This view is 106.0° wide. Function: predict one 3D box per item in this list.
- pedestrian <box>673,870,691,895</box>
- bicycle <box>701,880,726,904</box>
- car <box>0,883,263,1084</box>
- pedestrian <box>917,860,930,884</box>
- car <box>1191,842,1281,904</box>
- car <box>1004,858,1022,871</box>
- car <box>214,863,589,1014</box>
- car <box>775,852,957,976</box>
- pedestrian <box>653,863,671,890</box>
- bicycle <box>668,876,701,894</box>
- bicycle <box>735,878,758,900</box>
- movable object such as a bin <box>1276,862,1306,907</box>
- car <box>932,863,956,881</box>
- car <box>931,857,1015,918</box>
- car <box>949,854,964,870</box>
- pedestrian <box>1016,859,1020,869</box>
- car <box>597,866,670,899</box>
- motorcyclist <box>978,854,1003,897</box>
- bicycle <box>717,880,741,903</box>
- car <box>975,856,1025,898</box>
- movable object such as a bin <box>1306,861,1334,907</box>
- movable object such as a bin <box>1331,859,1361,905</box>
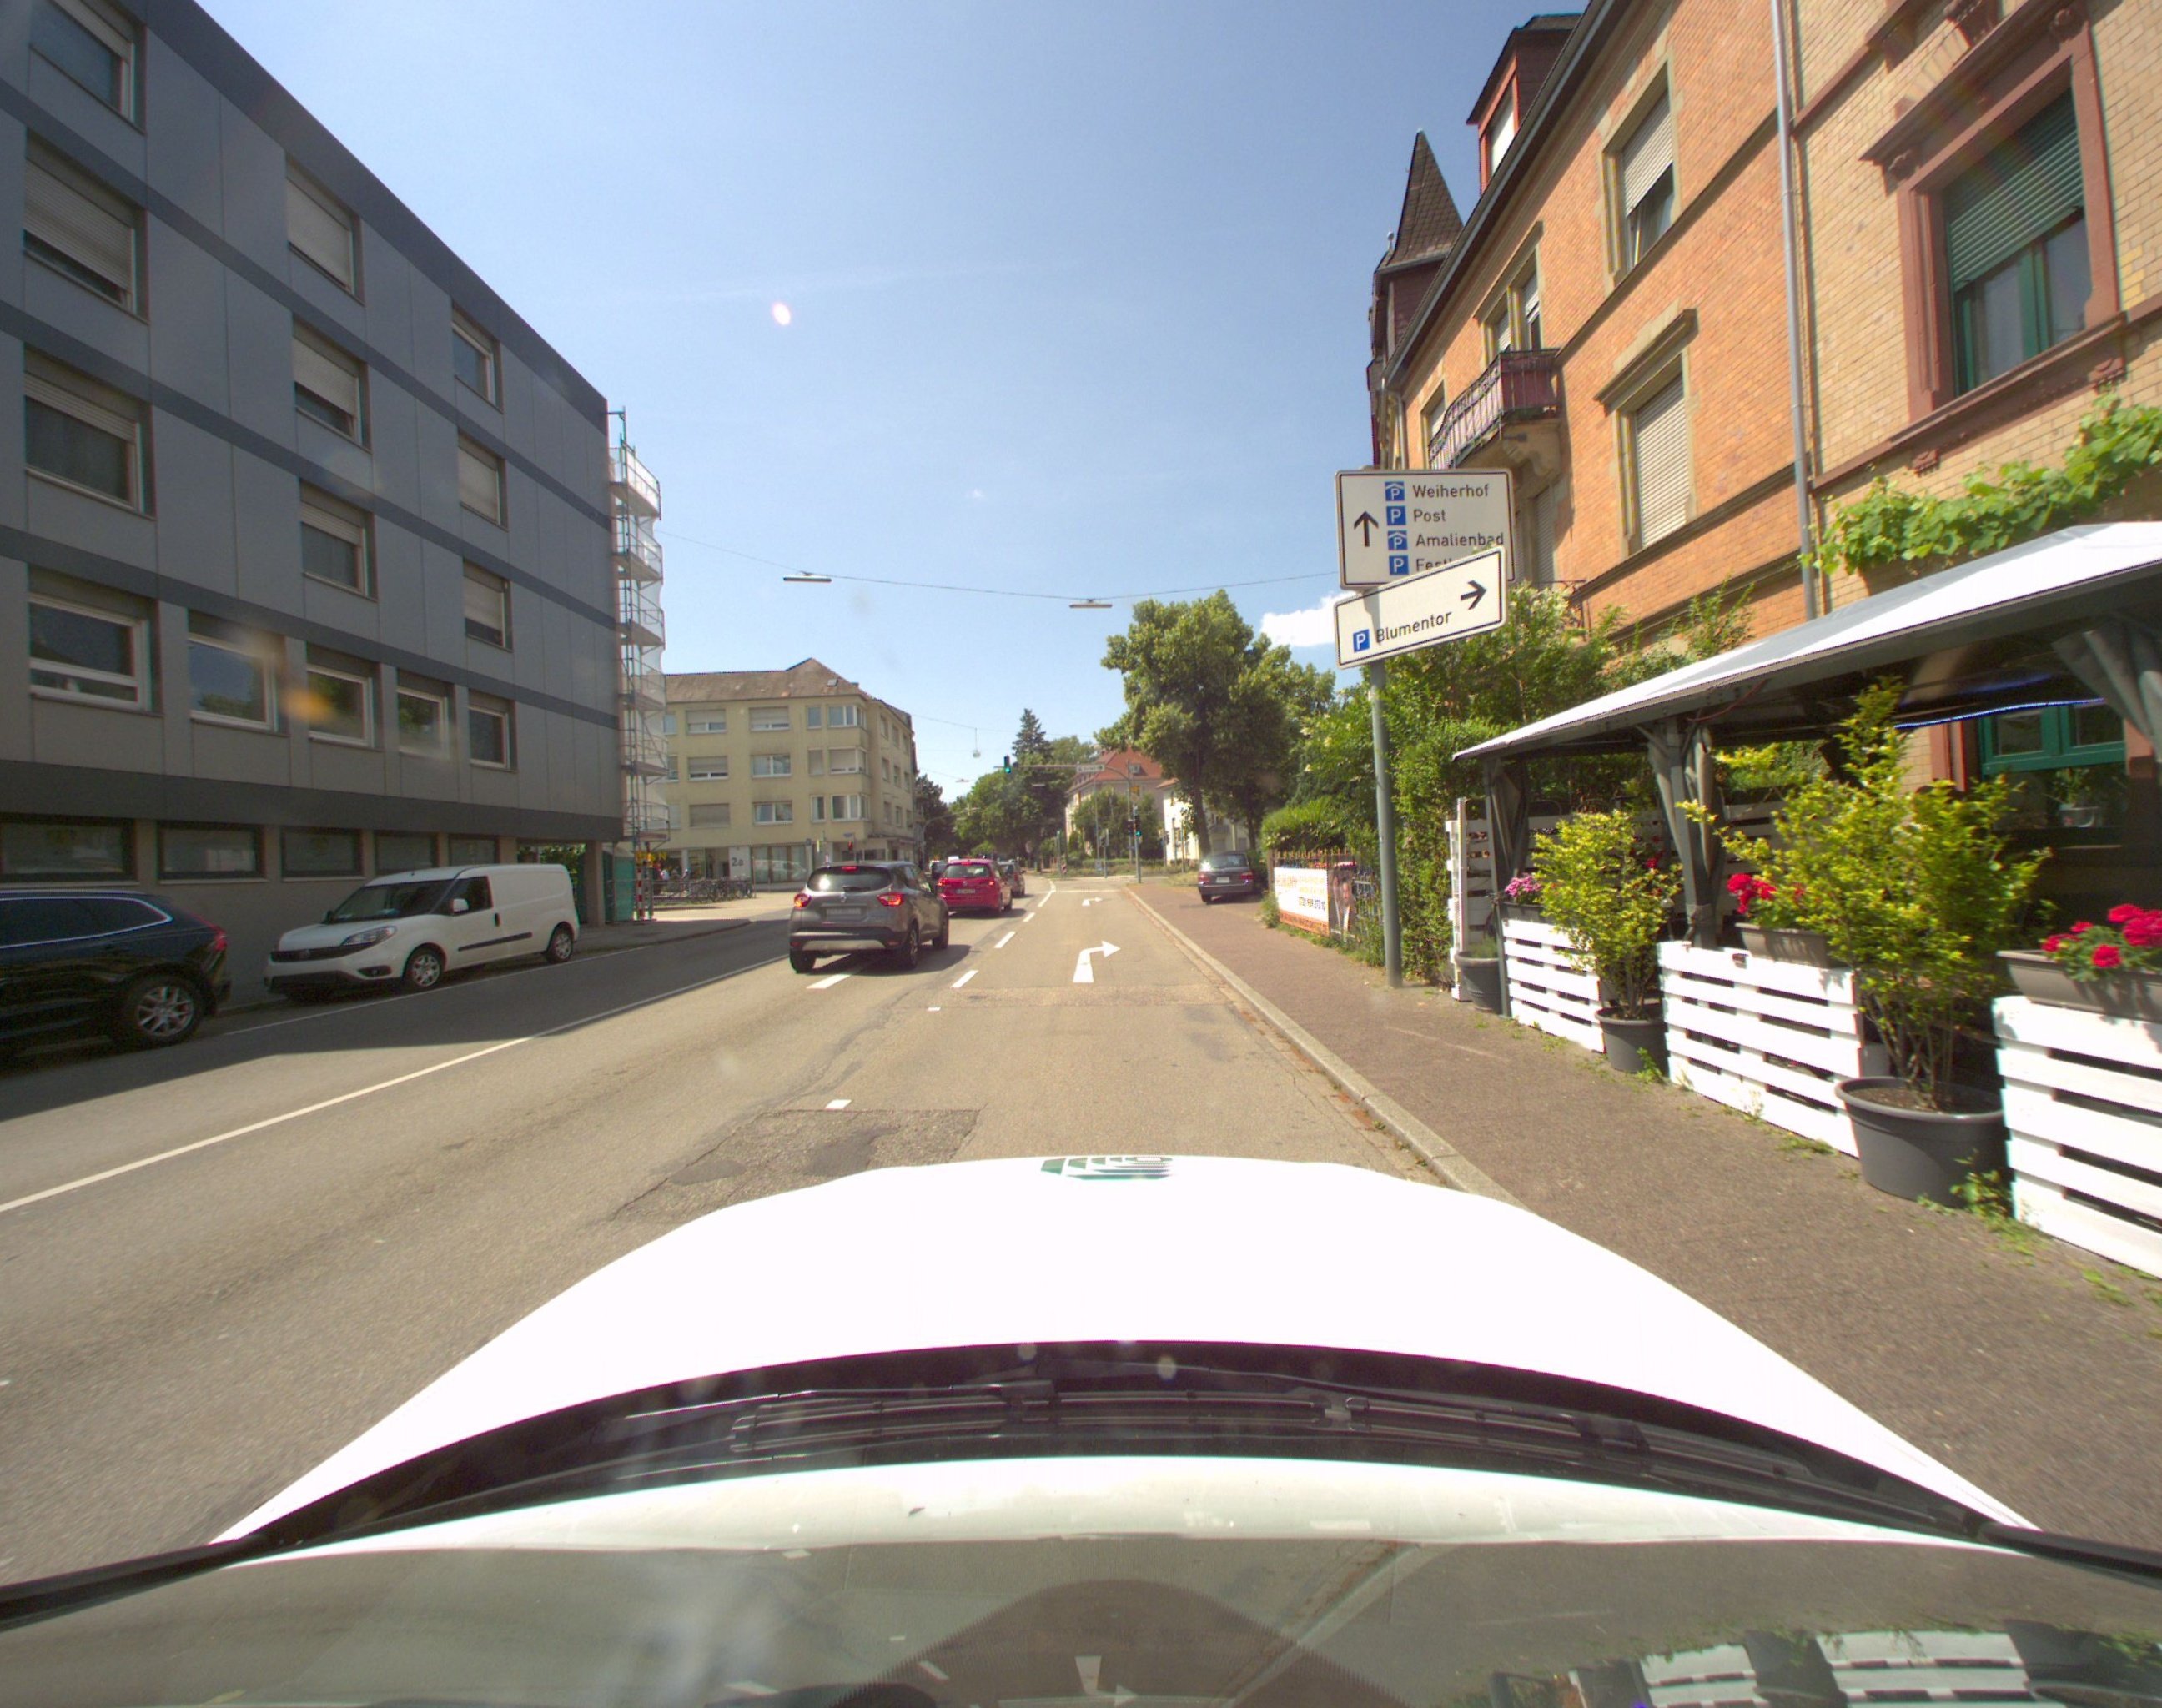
[{"bbox_3d":[-23.770,1.681,48.543,0.683,1.475,0.648,-2,-1,1],"label":"pedestrian"},{"bbox_3d":[-15.661,1.614,34.736,0.396,0.967,1.716,-2,0,-4],"label":"bicycle"},{"bbox_3d":[-10.075,1.183,6.732,1.879,1.641,4.660,-4,-1,-1],"label":"car"},{"bbox_3d":[-12.646,1.457,65.548,0.936,1.931,0.973,-2,-1,-12],"label":"pedestrian"},{"bbox_3d":[4.931,0.501,25.280,1.819,1.548,5.183,-4,1,20],"label":"car"},{"bbox_3d":[-9.750,1.525,116.261,1.995,1.807,3.983,-2,0,-12],"label":"car"},{"bbox_3d":[-10.262,1.122,12.968,1.908,1.825,4.786,-4,-1,-1],"label":"car"},{"bbox_3d":[-3.237,0.824,13.106,1.747,1.632,4.001,-2,0,1],"label":"car"},{"bbox_3d":[-25.595,1.361,49.759,0.683,1.632,0.648,-2,-1,1],"label":"pedestrian"},{"bbox_3d":[-24.639,1.899,50.576,1.733,1.027,0.498,-2,0,-2],"label":"bicycle"},{"bbox_3d":[-15.893,1.650,38.718,0.396,0.967,1.781,-2,0,-4],"label":"bicycle"},{"bbox_3d":[5.182,0.752,20.126,0.645,1.071,0.639,-3,0,10],"label":"movable object such as a bin"},{"bbox_3d":[-12.824,1.678,75.985,1.996,1.519,3.981,-1,-1,-13],"label":"car"},{"bbox_3d":[-3.001,0.897,23.401,1.793,1.558,4.037,-2,-1,0],"label":"car"},{"bbox_3d":[-21.795,1.482,142.331,2.216,2.501,7.529,-6,0,-9],"label":"car"},{"bbox_3d":[-10.076,1.571,130.746,0.508,1.656,0.464,-2,-1,-7],"label":"pedestrian"},{"bbox_3d":[-25.232,1.626,45.844,4.273,1.664,2.013,-3,-1,38],"label":"car"},{"bbox_3d":[-3.144,0.750,28.425,0.709,1.445,1.019,-2,0,-1],"label":"motorcyclist"},{"bbox_3d":[-15.812,1.657,36.604,0.396,0.967,1.744,-2,0,-4],"label":"bicycle"},{"bbox_3d":[-3.328,0.930,33.981,1.795,1.558,4.033,-2,0,-3],"label":"car"},{"bbox_3d":[5.865,0.728,20.005,0.548,1.071,0.707,-3,0,10],"label":"movable object such as a bin"},{"bbox_3d":[6.447,0.682,19.836,0.572,1.071,0.707,-3,0,10],"label":"movable object such as a bin"}]
